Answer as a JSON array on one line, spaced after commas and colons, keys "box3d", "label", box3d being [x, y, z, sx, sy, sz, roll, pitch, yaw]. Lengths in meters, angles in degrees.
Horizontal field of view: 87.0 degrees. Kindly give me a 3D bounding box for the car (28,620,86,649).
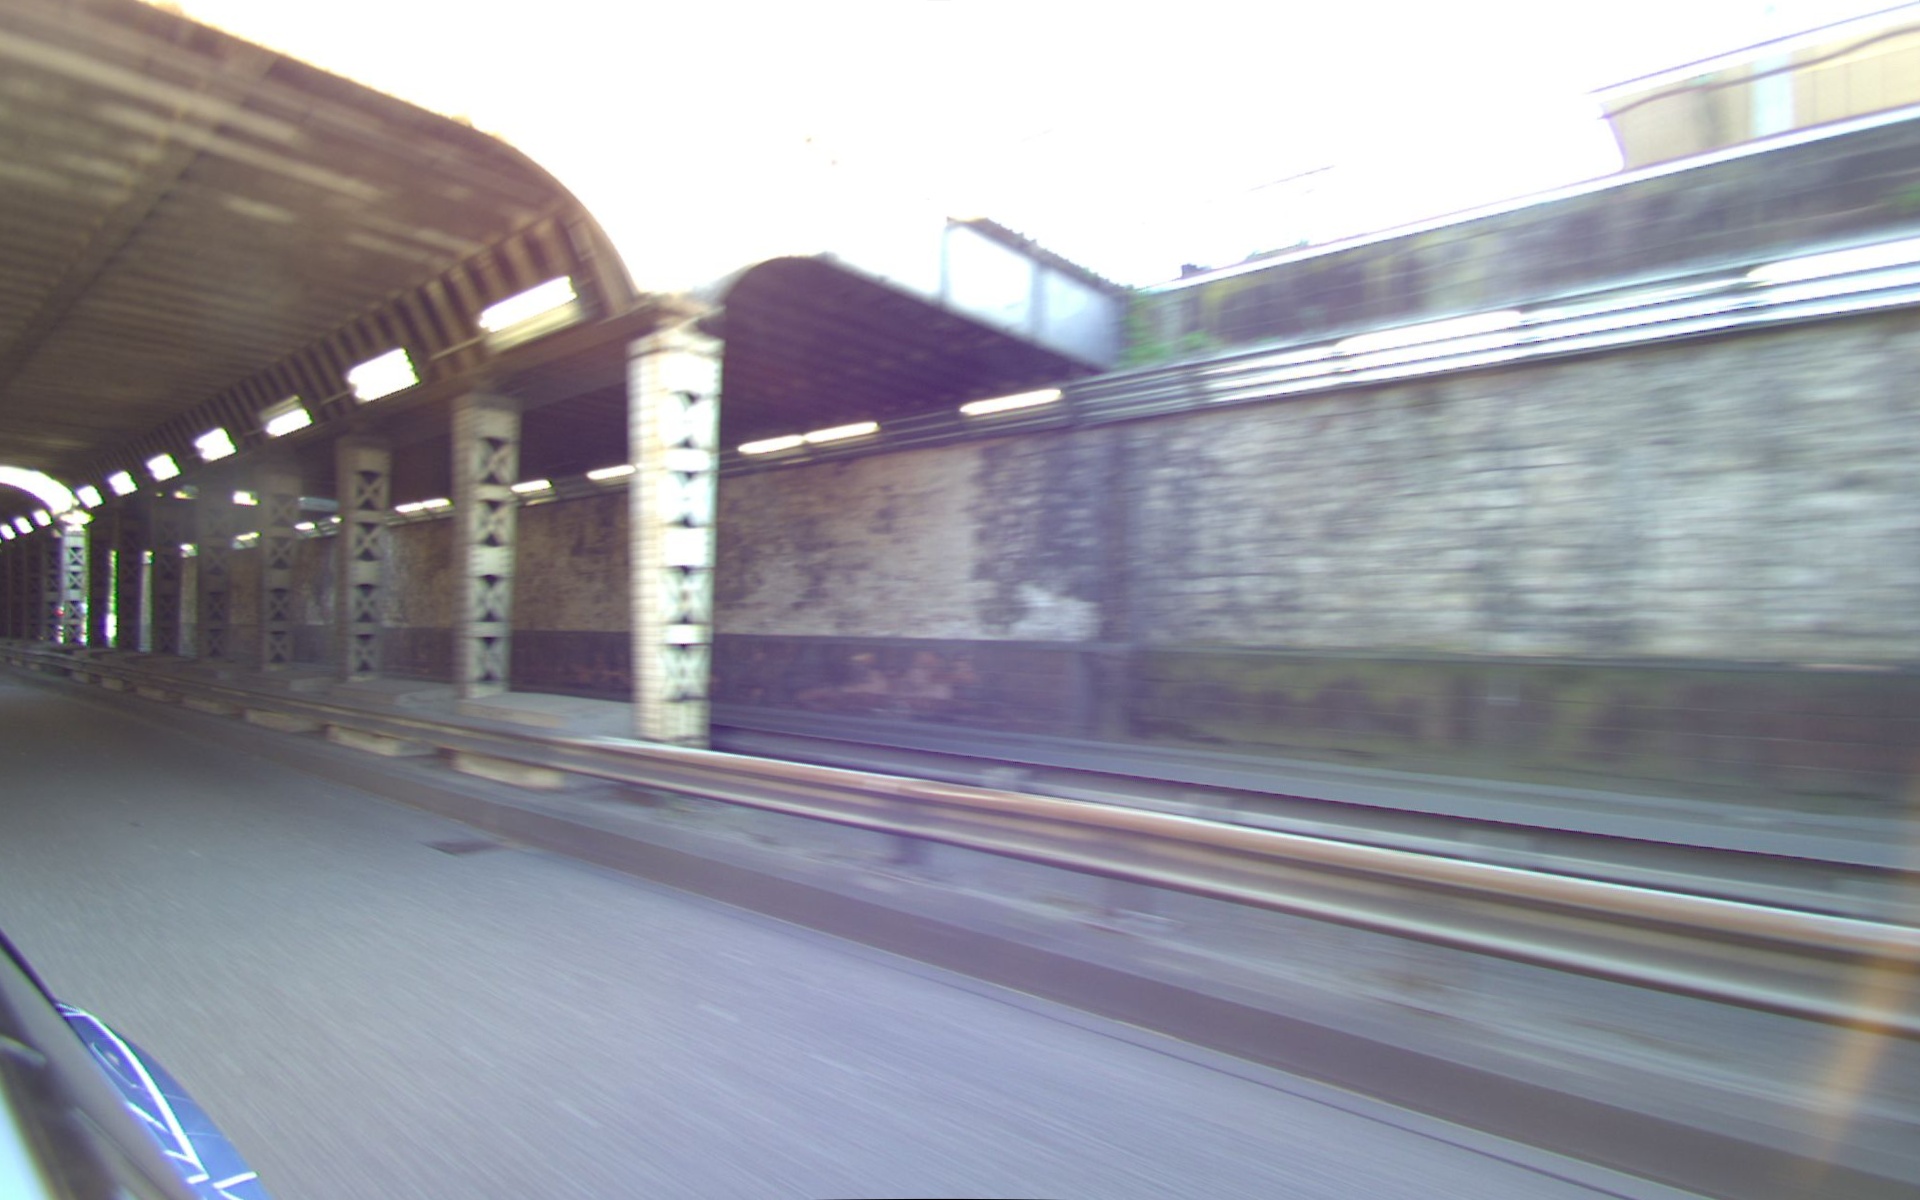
[{"box3d": [-51.964, 1.989, 58.294, 1.924, 1.529, 4.398, 2, -1, -35], "label": "car"}]
